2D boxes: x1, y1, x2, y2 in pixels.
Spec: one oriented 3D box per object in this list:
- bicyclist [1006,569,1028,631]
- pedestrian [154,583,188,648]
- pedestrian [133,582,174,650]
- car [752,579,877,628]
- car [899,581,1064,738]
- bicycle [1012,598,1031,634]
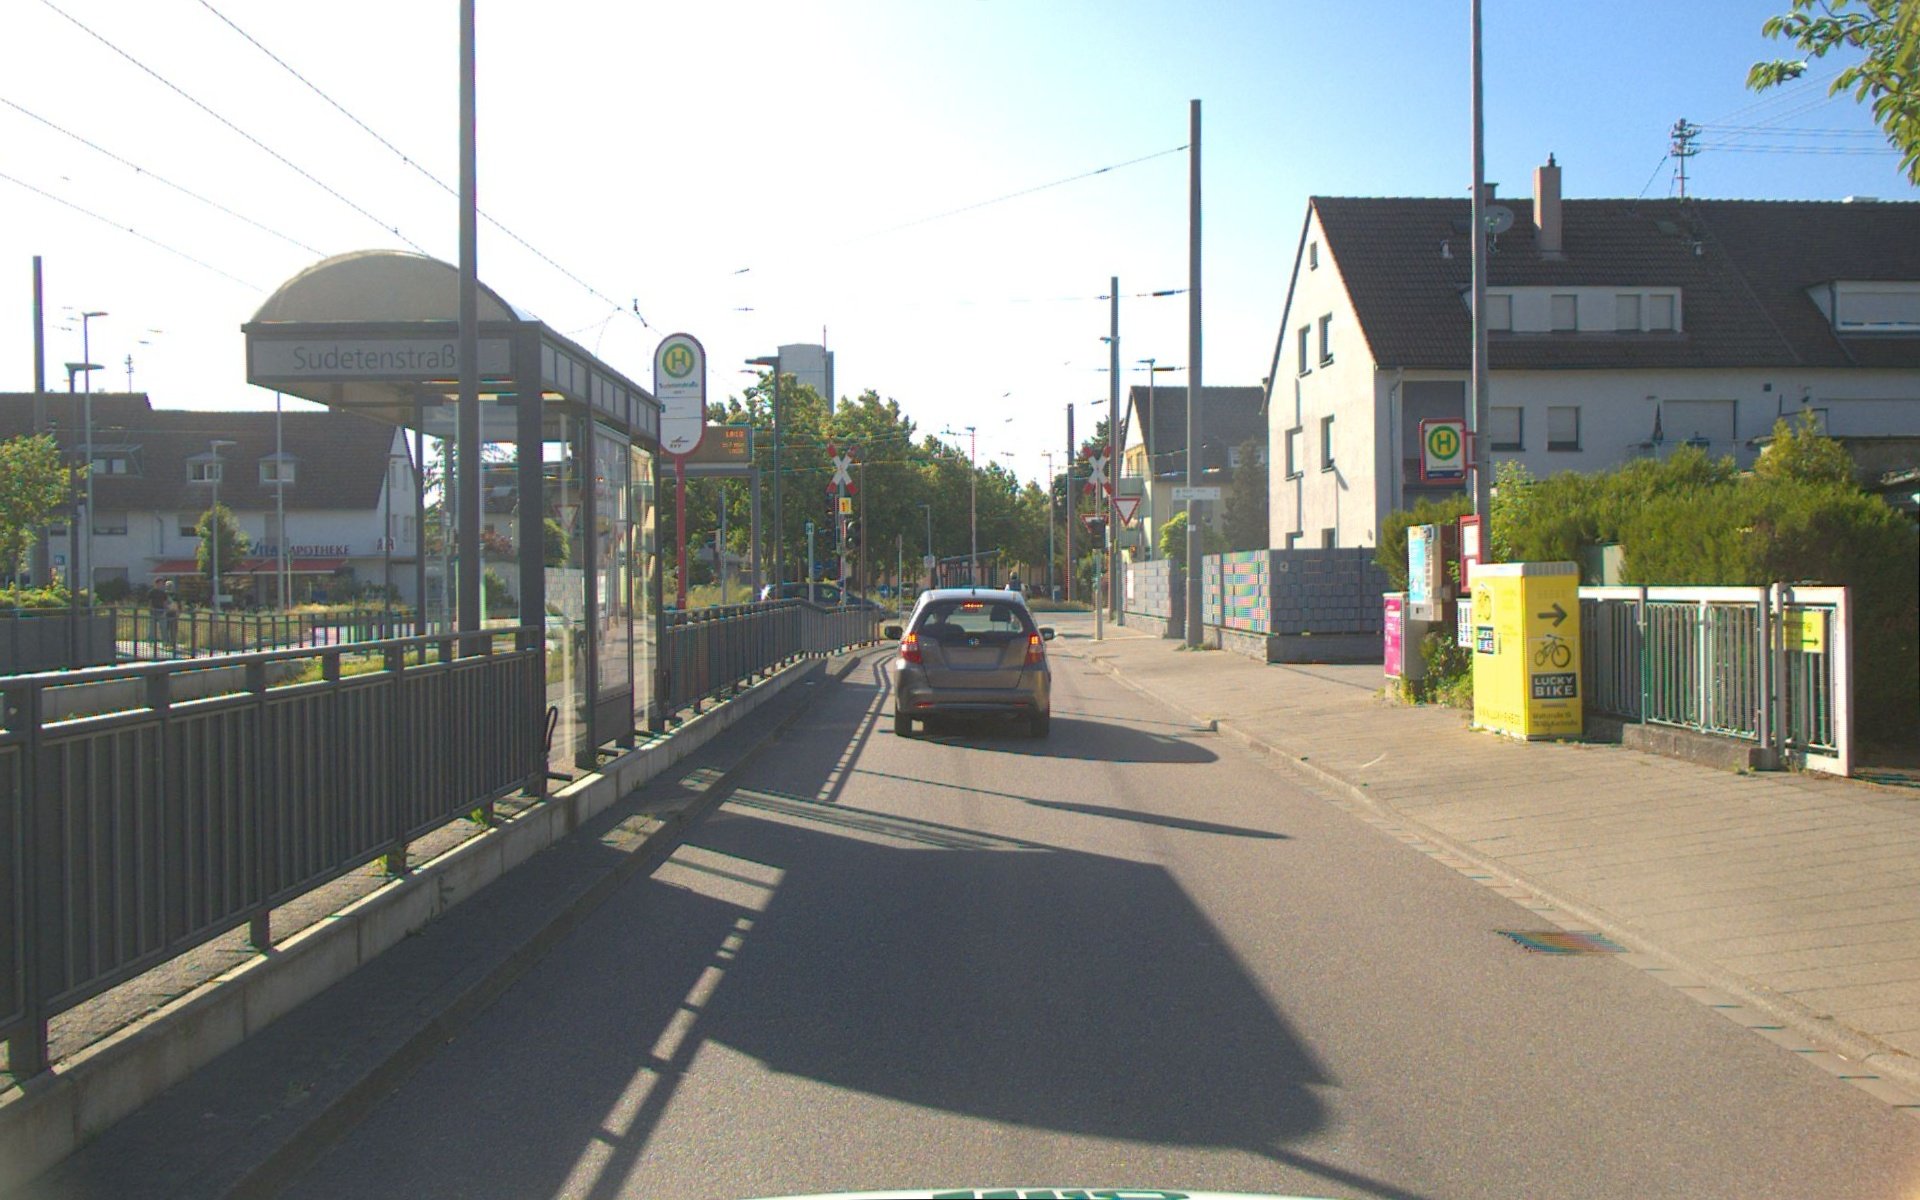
[{"bbox_3d":[1.612,-0.001,46.889,0.586,1.731,0.683,1,0,-1],"label":"bicyclist"},{"bbox_3d":[-21.595,0.425,45.275,0.581,1.763,0.689,-1,0,-3],"label":"pedestrian"},{"bbox_3d":[-21.493,0.421,44.101,0.714,1.792,0.772,-1,0,-3],"label":"pedestrian"},{"bbox_3d":[-4.944,0.122,56.008,3.925,1.556,1.799,1,0,-19],"label":"car"},{"bbox_3d":[0.177,0.589,18.419,1.636,1.562,3.486,1,0,-1],"label":"car"},{"bbox_3d":[1.740,0.452,46.966,0.465,0.978,1.657,1,0,0],"label":"bicycle"}]
